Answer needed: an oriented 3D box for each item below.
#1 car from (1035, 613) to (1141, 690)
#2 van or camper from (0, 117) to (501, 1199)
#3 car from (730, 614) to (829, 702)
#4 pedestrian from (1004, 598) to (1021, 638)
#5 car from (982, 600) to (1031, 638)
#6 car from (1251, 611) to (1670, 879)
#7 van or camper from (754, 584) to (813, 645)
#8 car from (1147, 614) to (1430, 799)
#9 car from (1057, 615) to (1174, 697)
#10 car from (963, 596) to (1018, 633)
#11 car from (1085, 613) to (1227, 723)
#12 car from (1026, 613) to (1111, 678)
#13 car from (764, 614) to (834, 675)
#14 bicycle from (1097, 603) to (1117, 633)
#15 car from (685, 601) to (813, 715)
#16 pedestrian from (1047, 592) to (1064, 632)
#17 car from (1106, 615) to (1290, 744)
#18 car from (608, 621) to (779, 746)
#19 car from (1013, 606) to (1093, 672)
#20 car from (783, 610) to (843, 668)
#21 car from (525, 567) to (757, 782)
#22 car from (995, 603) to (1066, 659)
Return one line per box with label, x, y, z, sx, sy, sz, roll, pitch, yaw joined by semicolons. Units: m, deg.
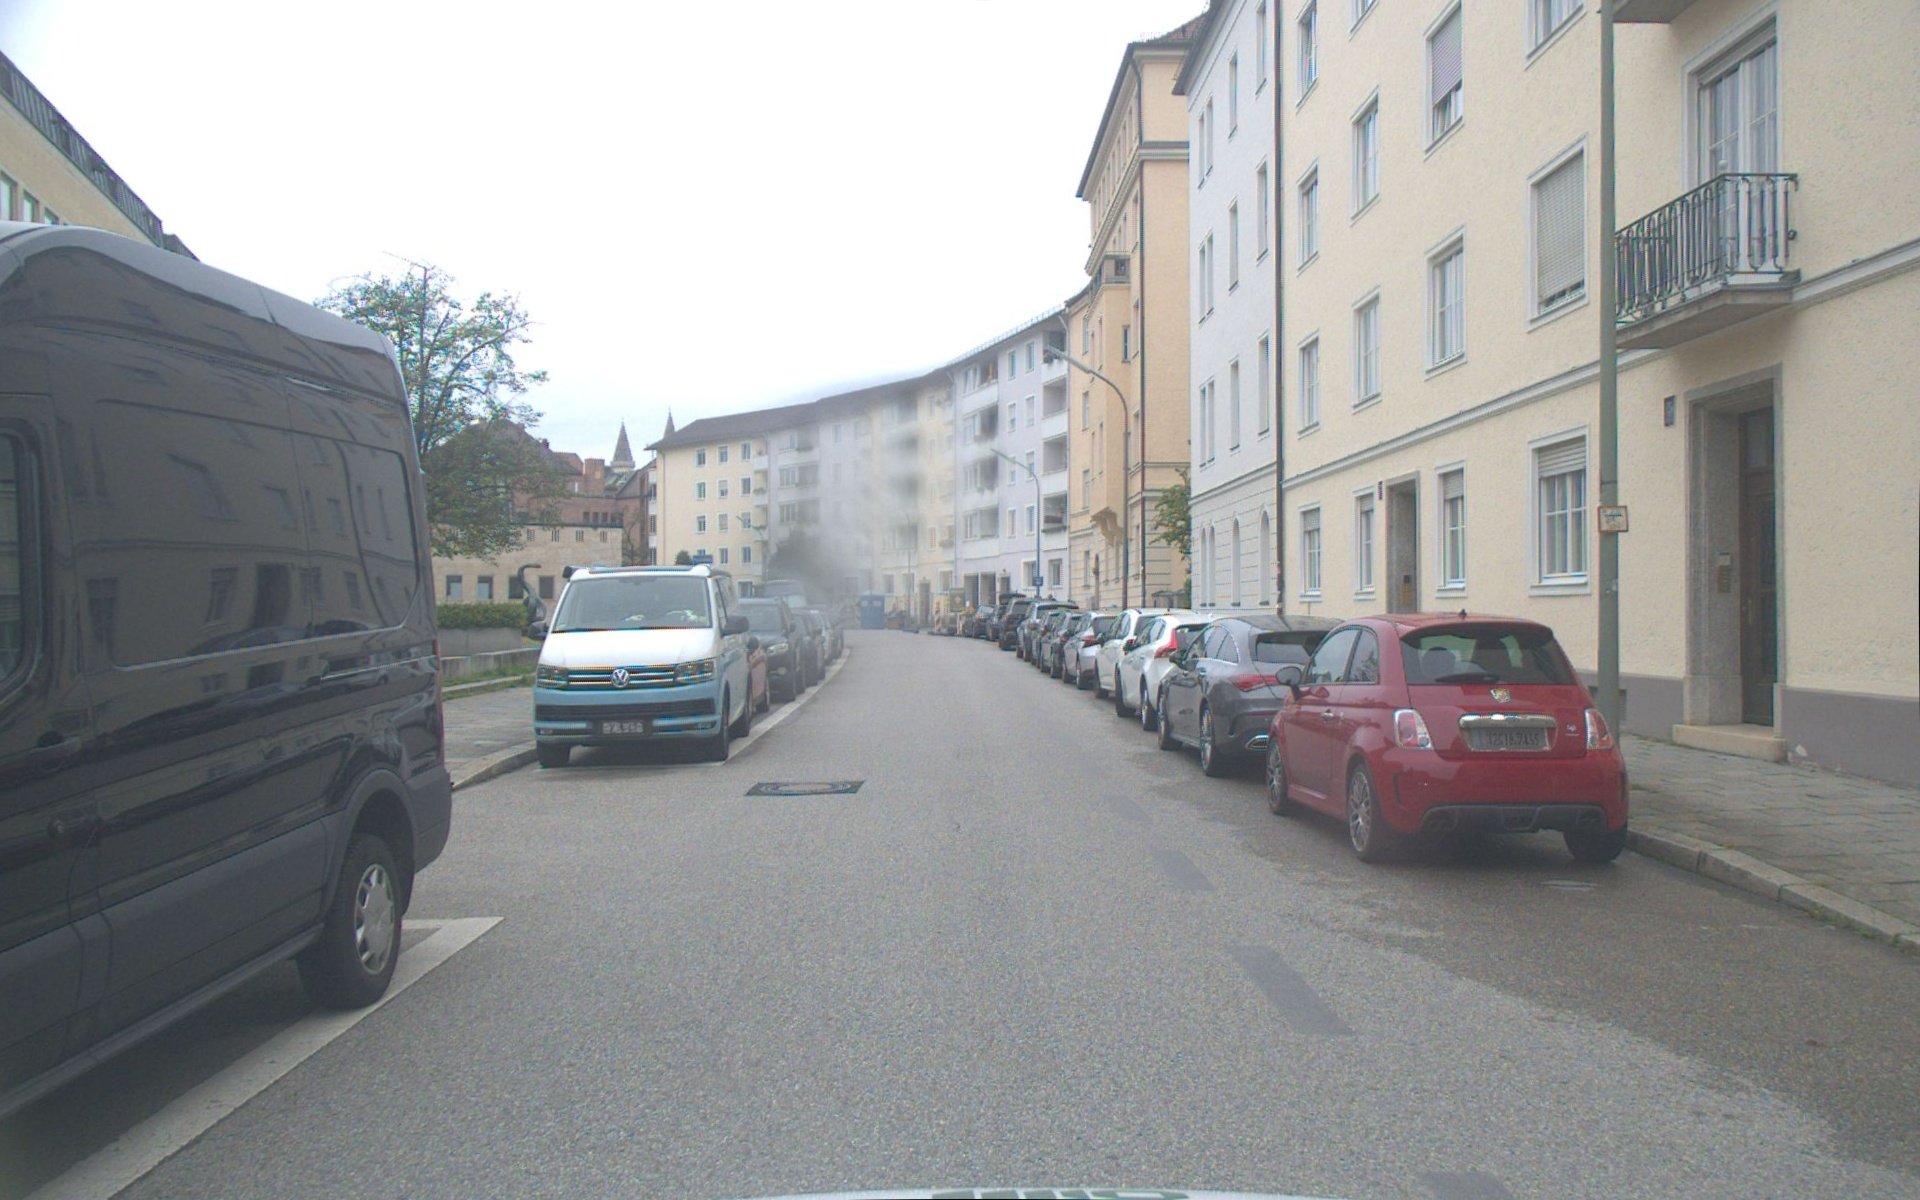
car;2.792;1.099;36.970;1.838;1.475;4.676;1;0;-2
van or camper;-3.309;0.252;4.842;2.246;2.697;5.561;-2;0;1
car;-3.556;1.112;33.163;1.598;1.520;3.819;-2;1;-1
pedestrian;2.074;0.714;65.538;0.616;1.555;0.578;1;0;-3
car;1.854;0.760;67.318;1.599;1.442;3.676;1;0;-4
car;3.212;0.849;11.388;1.621;1.454;3.755;1;0;-2
van or camper;-8.003;0.639;74.465;2.255;2.626;6.070;0;0;-10
car;3.055;0.925;16.363;1.737;1.454;4.614;1;0;-2
car;2.949;1.031;32.186;1.690;1.475;4.185;0;0;-3
car;1.317;0.612;73.696;1.871;1.503;4.941;1;0;-5
car;3.131;1.052;27.116;1.618;1.570;3.991;1;0;-3
car;2.719;1.113;42.126;1.790;1.475;4.083;1;0;-1
car;-4.255;1.158;44.141;1.706;1.447;4.291;1;1;-4
bicycle;5.486;0.665;61.812;0.491;1.067;2.138;-2;0;0
car;-3.510;0.917;28.125;1.680;1.719;4.140;-1;1;-1
pedestrian;4.148;0.509;72.034;0.605;1.720;0.919;-3;0;-1
car;3.062;0.979;22.110;1.690;1.454;4.292;1;0;-2
car;-3.570;1.083;22.779;1.768;1.431;3.708;-2;1;-1
car;2.595;1.066;46.985;1.809;1.692;4.496;1;0;-3
car;-4.358;1.129;49.472;1.598;1.520;4.272;-2;1;-3
car;-3.274;0.676;17.914;1.877;1.994;4.957;1;1;-4
car;2.388;1.039;57.246;2.126;1.769;5.023;1;0;-1
